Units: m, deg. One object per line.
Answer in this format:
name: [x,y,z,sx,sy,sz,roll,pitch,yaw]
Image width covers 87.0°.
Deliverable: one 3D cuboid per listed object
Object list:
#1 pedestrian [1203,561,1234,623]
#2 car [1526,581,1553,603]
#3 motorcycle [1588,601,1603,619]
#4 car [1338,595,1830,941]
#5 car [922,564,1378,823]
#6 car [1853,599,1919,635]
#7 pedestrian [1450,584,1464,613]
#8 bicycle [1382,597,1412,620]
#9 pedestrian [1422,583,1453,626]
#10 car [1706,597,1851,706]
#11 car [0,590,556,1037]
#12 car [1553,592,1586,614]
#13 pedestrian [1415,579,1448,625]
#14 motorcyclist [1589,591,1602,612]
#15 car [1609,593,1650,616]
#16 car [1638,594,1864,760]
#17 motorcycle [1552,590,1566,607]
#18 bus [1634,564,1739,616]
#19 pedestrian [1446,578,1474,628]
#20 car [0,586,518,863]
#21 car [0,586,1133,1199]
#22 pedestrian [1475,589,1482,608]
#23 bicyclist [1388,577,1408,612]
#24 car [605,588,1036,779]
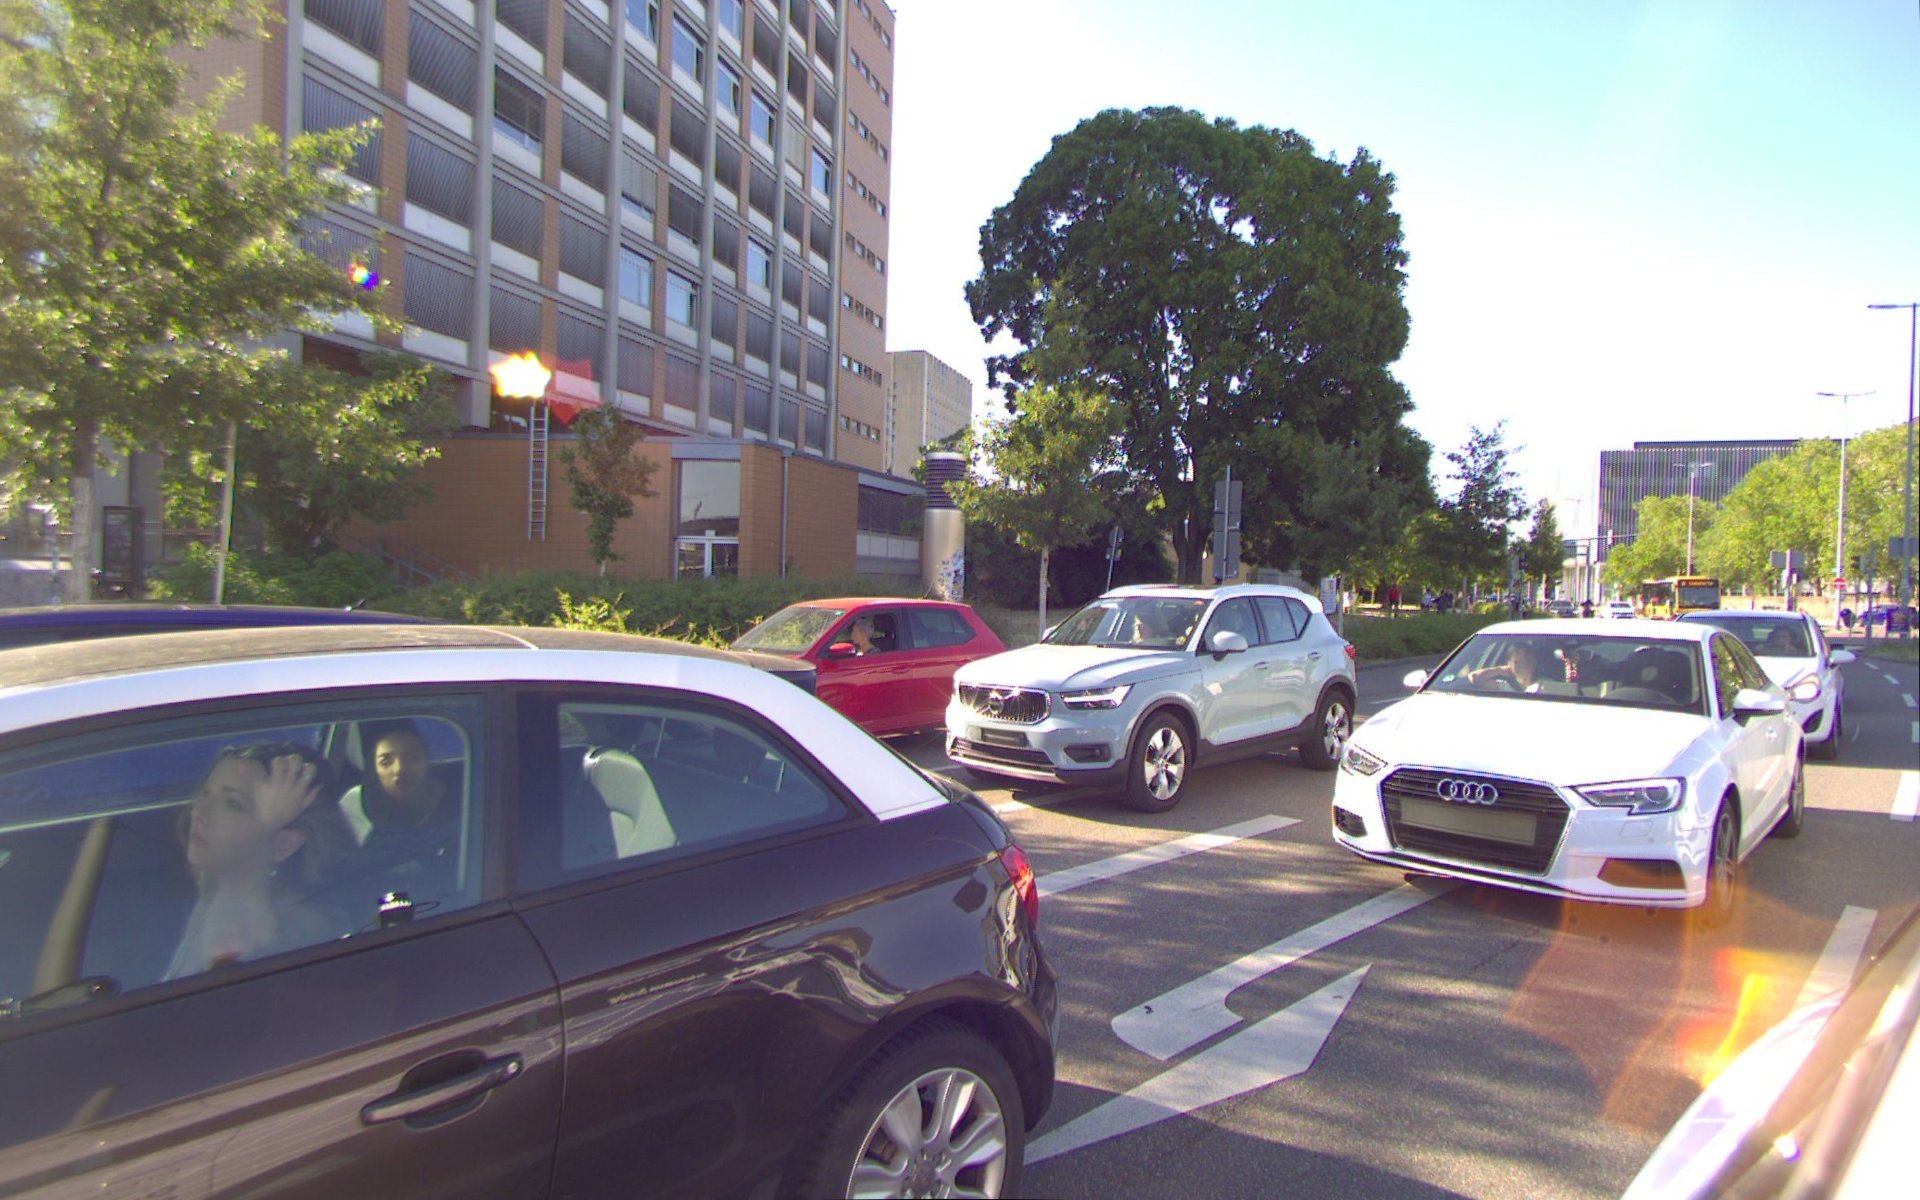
pedestrian: [6.880,-0.212,26.969,0.593,1.615,0.586,0,0,41]
car: [48.366,-0.706,84.541,1.730,1.727,3.962,2,1,27]
motorcycle: [48.518,0.781,77.222,0.711,1.321,2.215,0,0,26]
car: [3.945,0.691,6.124,3.769,1.422,1.625,-1,0,-43]
car: [1.773,0.570,8.464,4.153,1.641,1.625,-1,0,-43]
car: [56.465,0.981,60.976,1.965,2.039,3.994,0,0,5]
pedestrian: [36.159,-0.108,73.629,0.846,2.039,0.824,0,0,34]
bicycle: [20.077,0.373,46.499,0.657,0.975,2.005,2,2,41]
pedestrian: [19.883,0.181,42.137,1.005,1.742,0.873,0,0,39]
car: [13.110,0.712,16.126,1.622,1.478,3.981,0,0,42]
car: [-3.761,0.686,3.726,3.930,1.422,1.626,-1,0,-41]
car: [43.322,0.210,71.948,1.740,1.478,4.149,0,0,27]
pedestrian: [21.670,0.081,46.504,1.137,2.039,1.268,0,0,39]
motorcyclist: [48.453,0.107,77.162,0.704,1.610,0.684,0,0,27]
car: [45.954,0.283,69.550,1.738,1.478,4.153,0,0,25]
car: [8.873,0.690,11.230,1.623,1.478,3.979,0,1,43]
motorcycle: [46.995,-0.110,79.447,0.710,1.321,2.216,0,0,25]
bus: [49.792,-0.673,69.806,3.051,3.252,12.451,0,1,22]
pedestrian: [21.007,0.123,42.487,0.891,2.039,0.870,0,0,39]
car: [-5.239,0.633,6.081,4.434,1.422,1.725,-1,1,-42]
car: [-1.604,0.694,1.703,3.930,1.422,1.626,-1,0,-41]
pedestrian: [48.687,-0.128,95.100,0.475,1.706,0.399,1,1,-41]
bicyclist: [20.150,-0.262,46.572,0.615,1.580,0.858,0,0,41]
car: [-1.192,0.631,9.849,3.974,1.478,1.625,-1,0,-43]
